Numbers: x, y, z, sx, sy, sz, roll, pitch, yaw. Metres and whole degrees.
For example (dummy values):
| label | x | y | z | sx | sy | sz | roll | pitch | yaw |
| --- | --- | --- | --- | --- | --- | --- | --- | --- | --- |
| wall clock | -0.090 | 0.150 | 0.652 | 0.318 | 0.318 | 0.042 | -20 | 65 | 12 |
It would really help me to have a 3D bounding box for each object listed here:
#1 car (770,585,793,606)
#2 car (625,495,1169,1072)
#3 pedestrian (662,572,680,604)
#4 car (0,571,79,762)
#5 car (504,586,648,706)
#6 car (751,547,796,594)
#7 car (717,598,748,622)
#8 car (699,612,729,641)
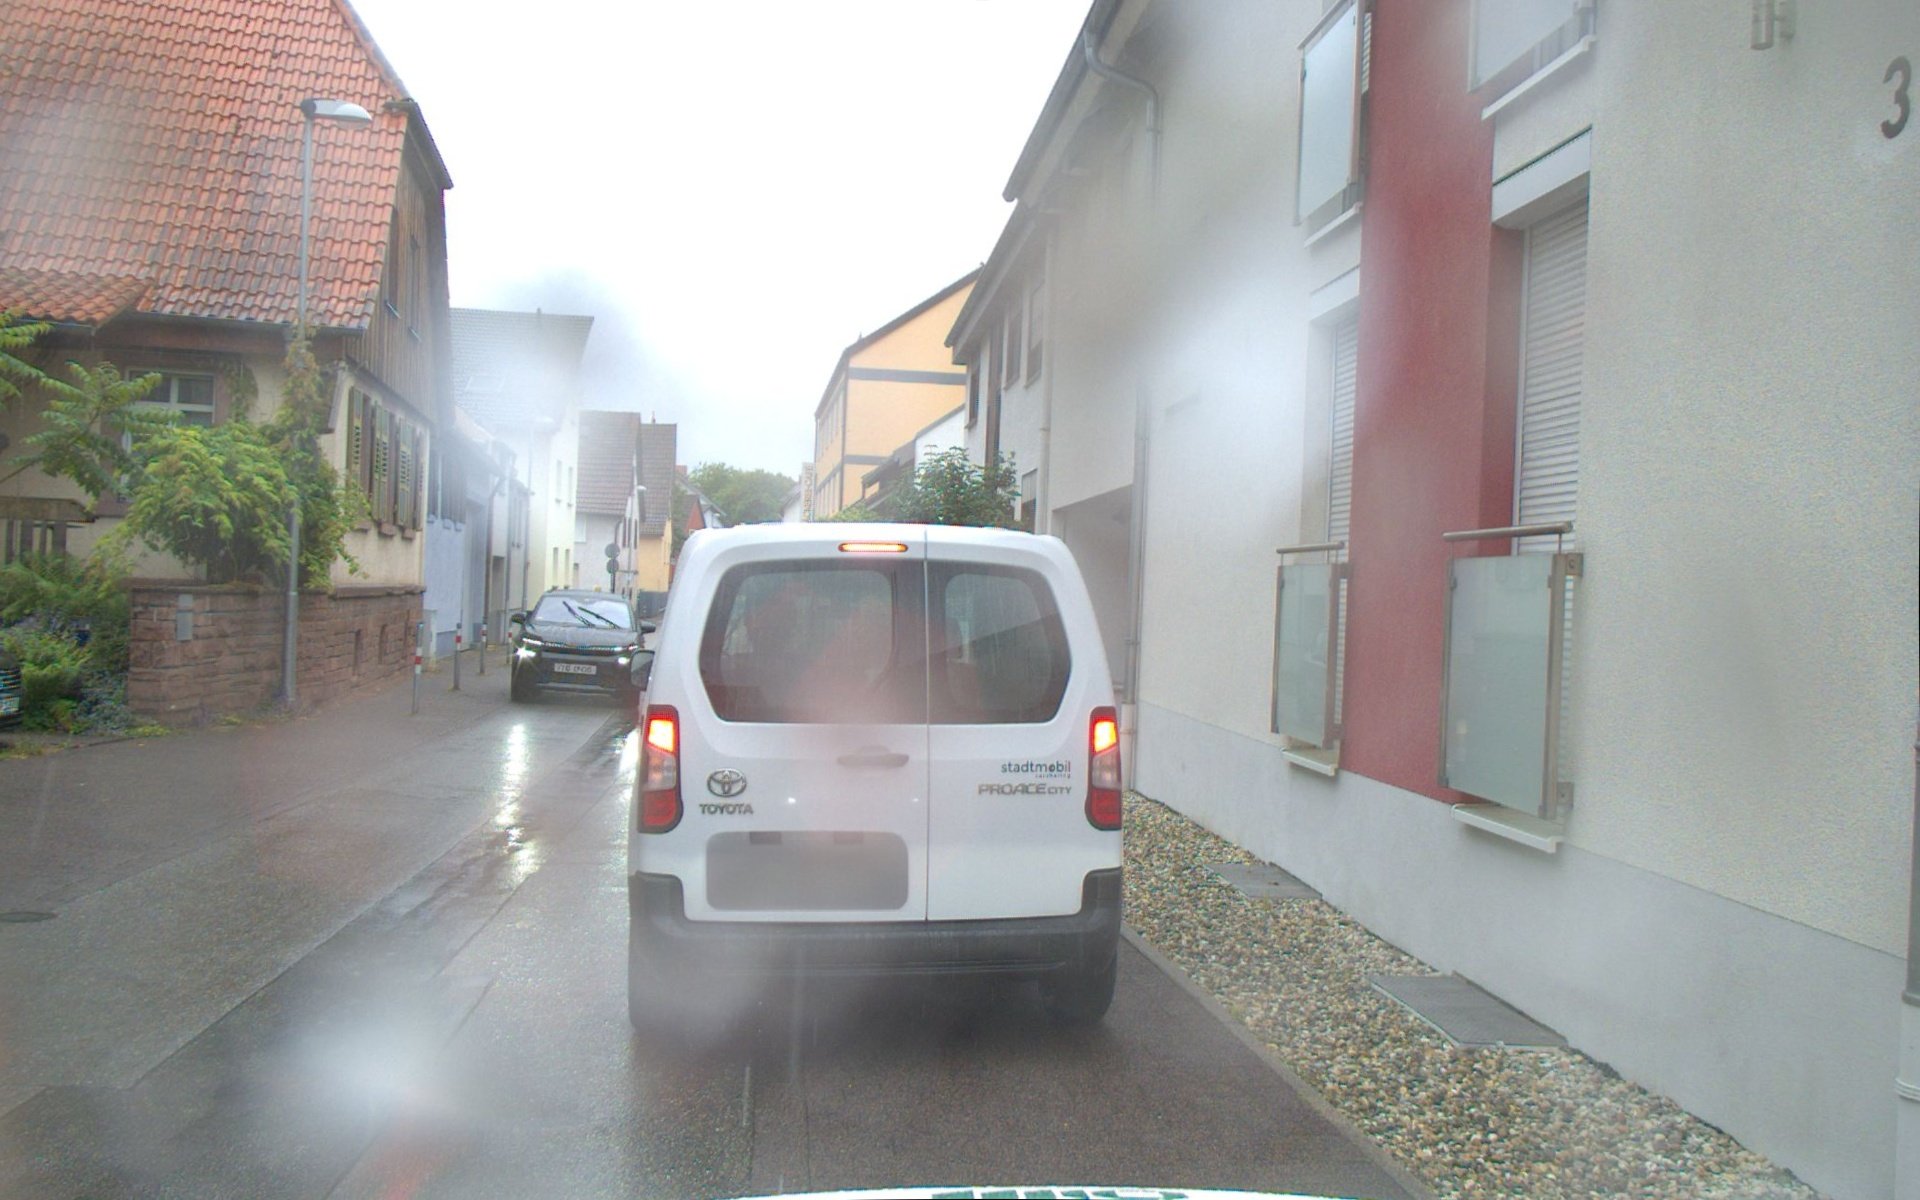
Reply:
| label | x | y | z | sx | sy | sz | roll | pitch | yaw |
| --- | --- | --- | --- | --- | --- | --- | --- | --- | --- |
| car | -18.101 | -0.409 | 167.913 | 1.953 | 2.049 | 3.999 | 1 | 0 | -1 |
| car | -0.488 | 0.594 | 7.313 | 1.742 | 1.811 | 3.991 | 1 | 0 | -9 |
| pedestrian | -17.931 | -0.754 | 102.723 | 1.031 | 1.926 | 0.875 | 1 | -1 | -9 |
| car | -9.394 | 0.313 | 12.943 | 3.908 | 1.450 | 1.735 | 7 | -1 | -1 |
| car | -5.673 | 0.637 | 24.864 | 1.799 | 1.583 | 4.229 | 2 | 0 | -10 |
| car | -8.563 | -1.324 | 76.142 | 1.955 | 2.049 | 3.995 | 1 | 0 | -6 |
| car | -14.010 | 0.578 | 101.633 | 1.747 | 1.419 | 3.990 | 1 | 0 | -10 |
| car | -13.605 | 1.450 | 91.264 | 1.532 | 1.503 | 3.990 | 1 | 0 | -10 |
